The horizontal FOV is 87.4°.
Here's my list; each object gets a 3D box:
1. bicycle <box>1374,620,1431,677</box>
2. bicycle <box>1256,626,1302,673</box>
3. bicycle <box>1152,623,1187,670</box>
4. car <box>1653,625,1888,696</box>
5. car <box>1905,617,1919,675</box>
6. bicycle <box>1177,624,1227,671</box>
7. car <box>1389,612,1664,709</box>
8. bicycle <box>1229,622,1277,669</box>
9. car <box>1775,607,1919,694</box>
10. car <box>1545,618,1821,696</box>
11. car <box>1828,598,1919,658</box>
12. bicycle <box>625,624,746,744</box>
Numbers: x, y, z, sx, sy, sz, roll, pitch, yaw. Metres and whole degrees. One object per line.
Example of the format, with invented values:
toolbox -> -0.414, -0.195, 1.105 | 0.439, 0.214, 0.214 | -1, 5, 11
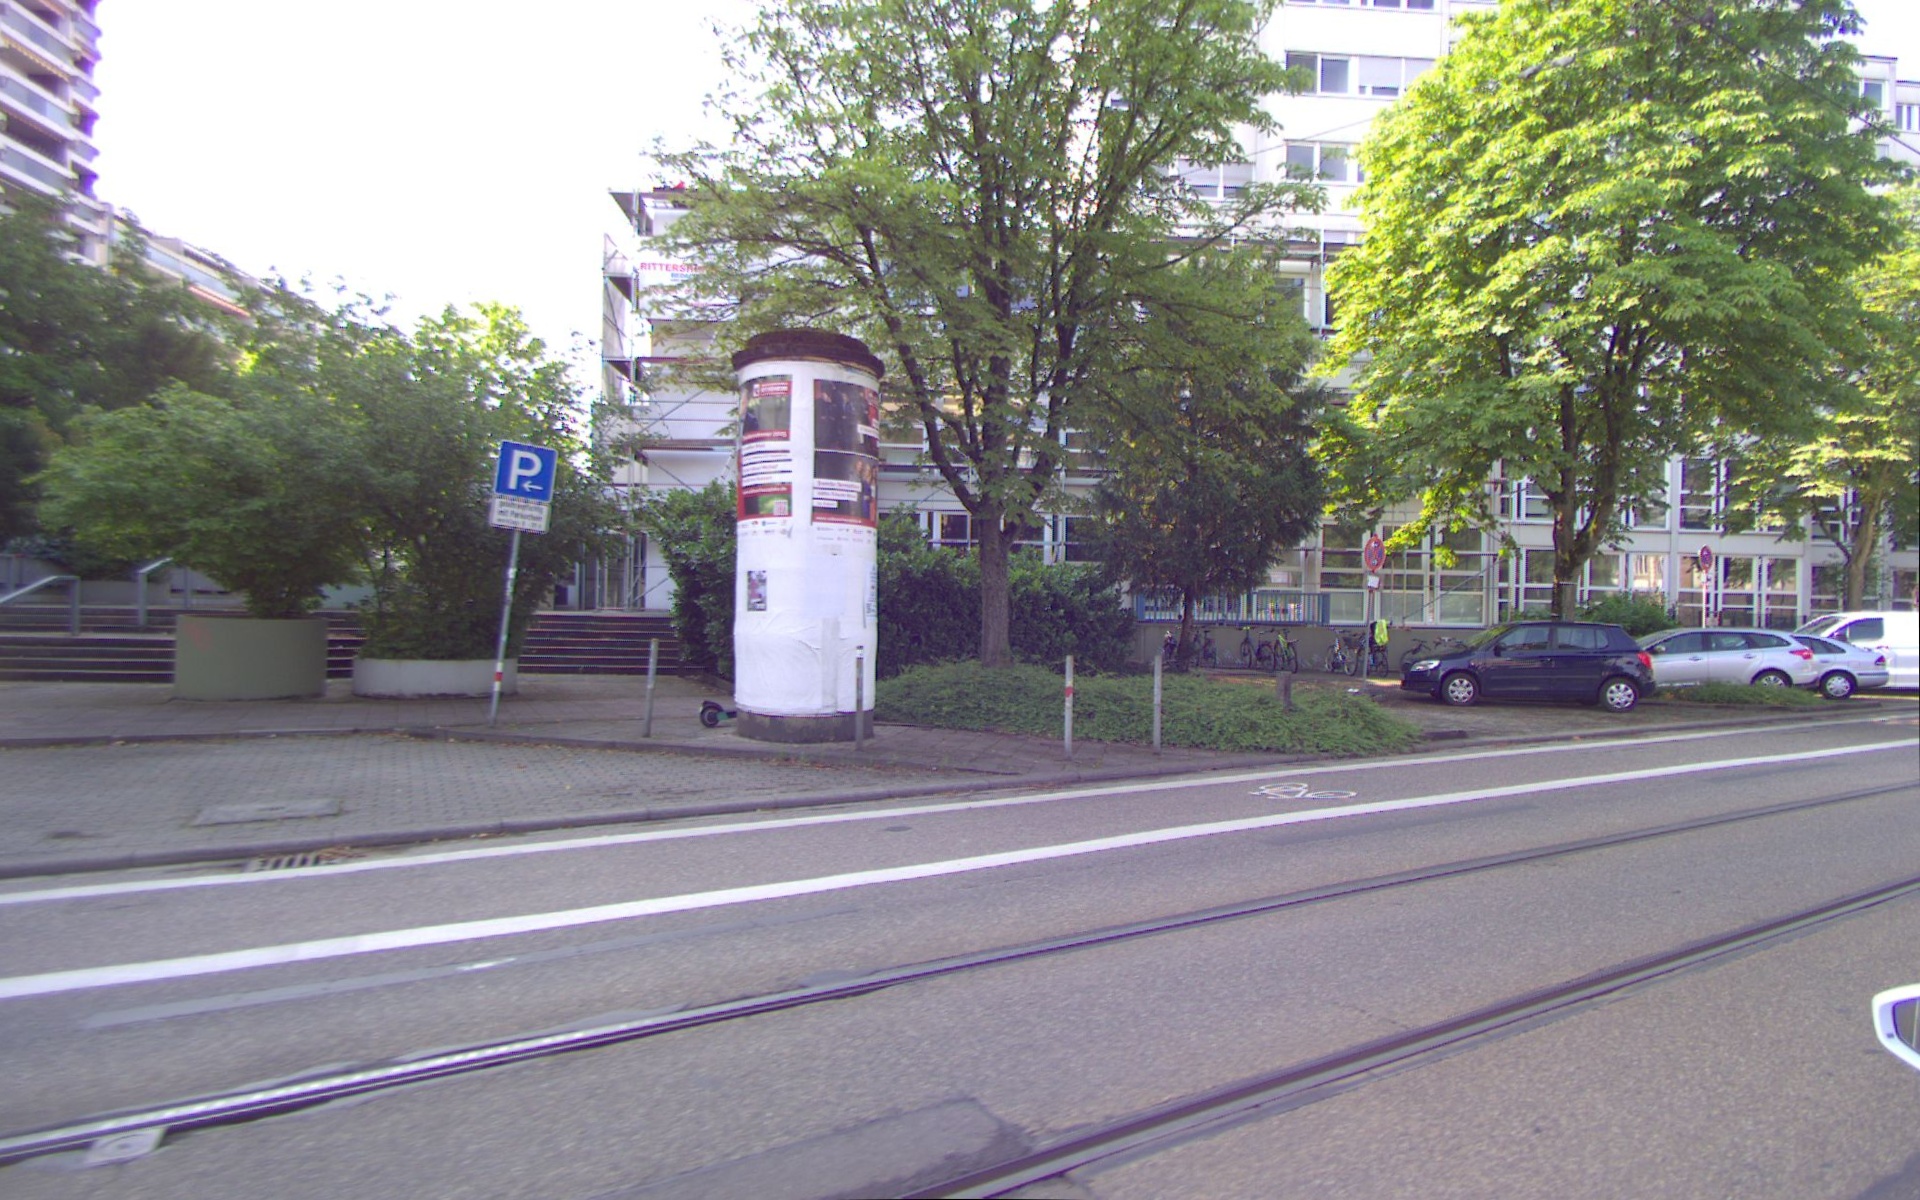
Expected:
bicycle -> 11.444, 1.232, 26.049 | 0.429, 1.382, 1.900 | 1, 0, -6
bicycle -> 8.061, 1.230, 25.453 | 0.487, 1.101, 2.056 | 1, 0, 0
bicycle -> 5.202, 1.129, 24.997 | 0.428, 1.084, 1.902 | 1, 0, 0
car -> 18.171, 1.369, 22.720 | 3.708, 1.495, 1.726 | -2, -2, 17
car -> 30.135, 1.400, 28.976 | 3.683, 1.735, 1.884 | 1, 0, 15
bicycle -> 6.101, 1.176, 25.411 | 0.488, 1.101, 2.053 | 1, 0, -8
car -> 9.791, 0.997, 17.710 | 3.920, 1.482, 1.760 | 1, 0, 18
bicycle -> 7.412, 1.131, 25.482 | 0.487, 1.101, 2.055 | 1, 0, -4
car -> 22.480, 1.150, 23.721 | 4.551, 1.937, 1.933 | -3, -2, 19
car -> 15.082, 1.146, 21.218 | 4.371, 1.445, 1.741 | 1, 0, 13
car -> 25.696, 0.763, 26.673 | 3.563, 1.520, 1.764 | 1, -1, 12
bicycle -> -2.968, 0.875, 10.997 | 0.620, 1.170, 1.509 | 1, 0, 13
